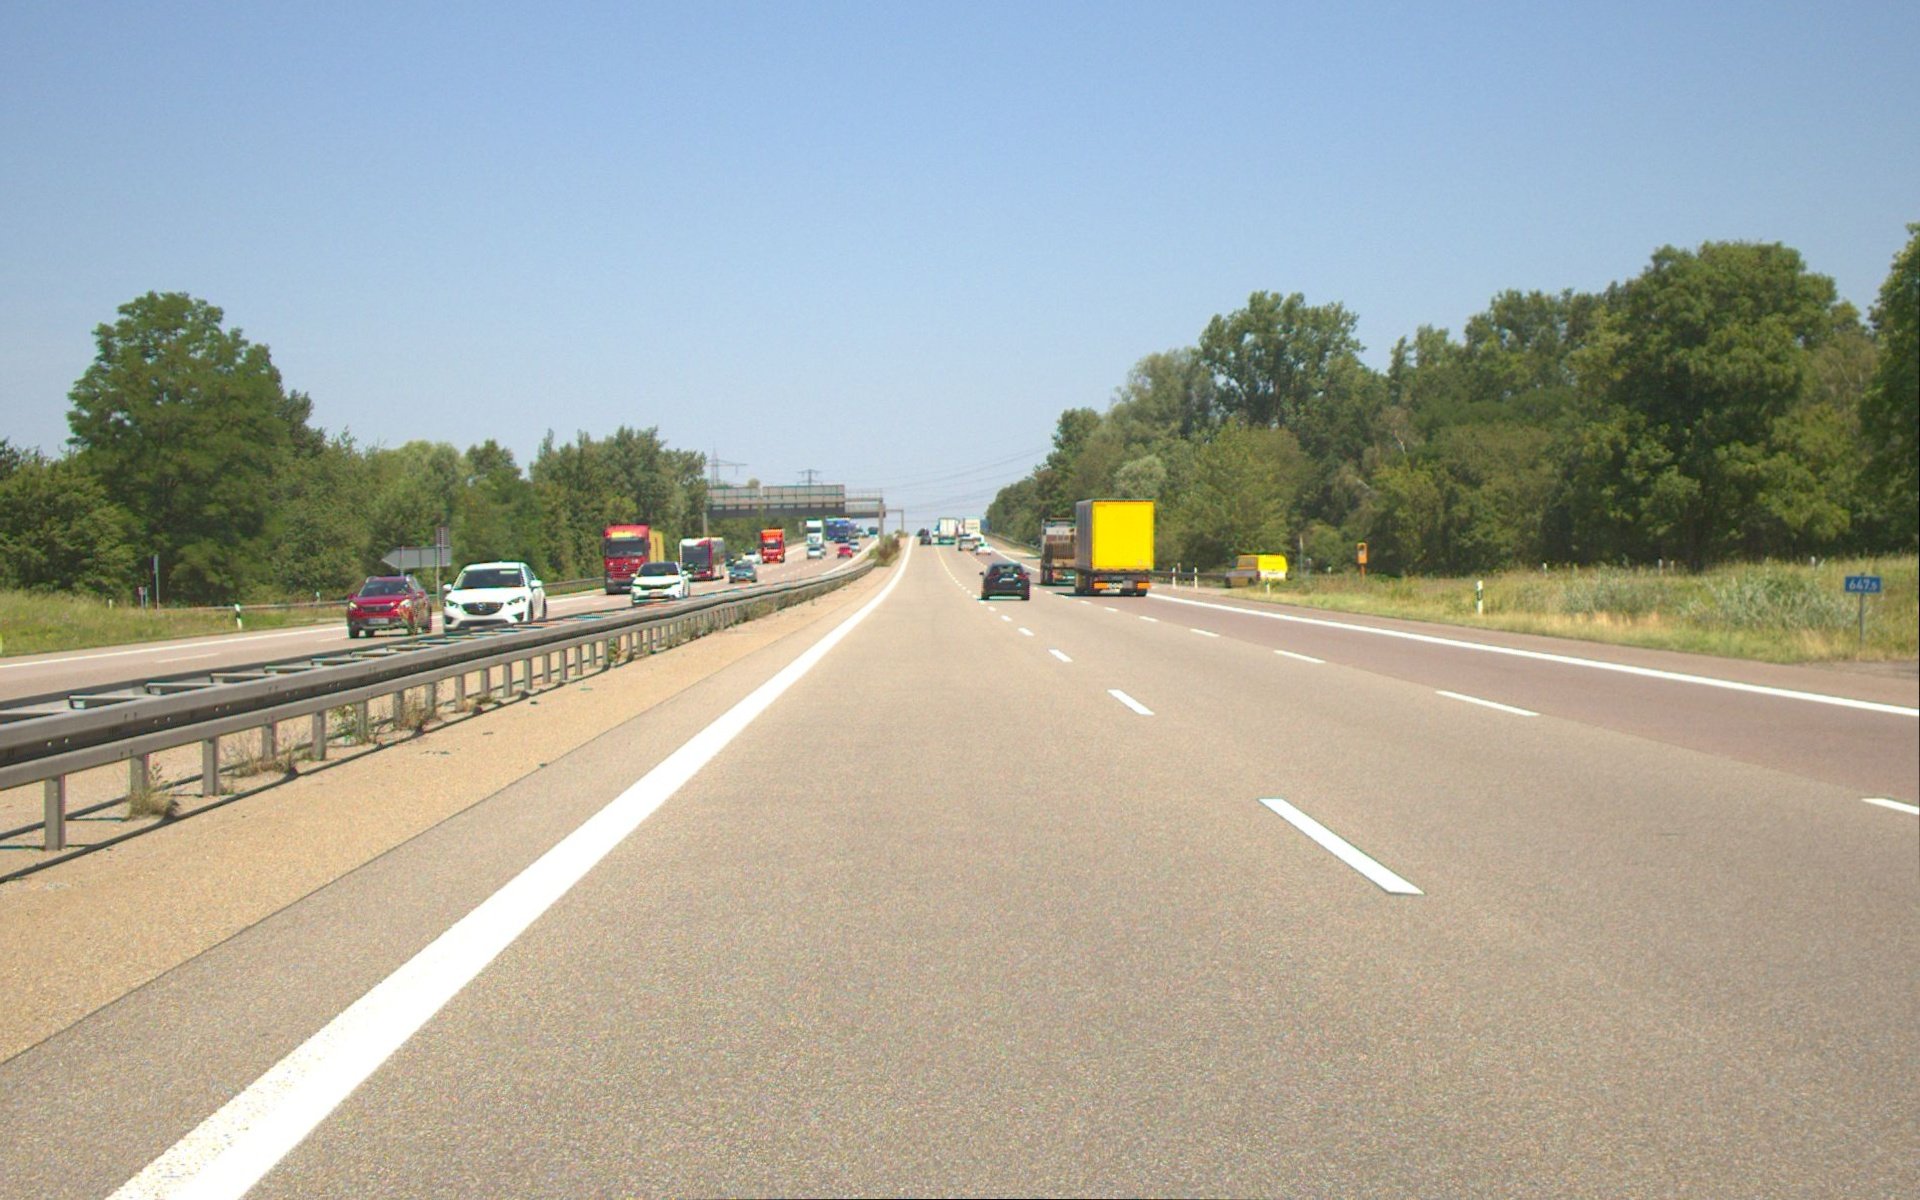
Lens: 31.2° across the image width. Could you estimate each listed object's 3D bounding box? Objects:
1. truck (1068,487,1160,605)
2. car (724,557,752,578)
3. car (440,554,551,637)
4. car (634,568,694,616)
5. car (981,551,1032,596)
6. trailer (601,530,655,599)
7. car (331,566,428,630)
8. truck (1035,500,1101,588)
[{"bbox_3d":[6.639,-2.363,150.086,3.377,4.864,15.086,0,1,0],"label":"truck"},{"bbox_3d":[-15.677,-2.293,242.676,1.720,1.376,4.787,-4,0,-2],"label":"car"},{"bbox_3d":[-10.015,-0.129,74.348,1.762,1.687,4.819,-1,1,-1],"label":"car"},{"bbox_3d":[-10.886,-0.314,126.669,1.810,1.687,5.125,-1,1,-1],"label":"car"},{"bbox_3d":[1.766,-1.033,131.725,1.827,1.700,4.000,0,1,-1],"label":"car"},{"bbox_3d":[-19.423,-2.111,201.435,2.603,3.978,6.029,0,1,0],"label":"trailer"},{"bbox_3d":[-14.805,-0.071,87.885,1.762,1.490,4.075,-2,1,0],"label":"car"},{"bbox_3d":[6.135,-3.218,198.099,3.367,4.864,15.086,0,1,0],"label":"truck"}]
